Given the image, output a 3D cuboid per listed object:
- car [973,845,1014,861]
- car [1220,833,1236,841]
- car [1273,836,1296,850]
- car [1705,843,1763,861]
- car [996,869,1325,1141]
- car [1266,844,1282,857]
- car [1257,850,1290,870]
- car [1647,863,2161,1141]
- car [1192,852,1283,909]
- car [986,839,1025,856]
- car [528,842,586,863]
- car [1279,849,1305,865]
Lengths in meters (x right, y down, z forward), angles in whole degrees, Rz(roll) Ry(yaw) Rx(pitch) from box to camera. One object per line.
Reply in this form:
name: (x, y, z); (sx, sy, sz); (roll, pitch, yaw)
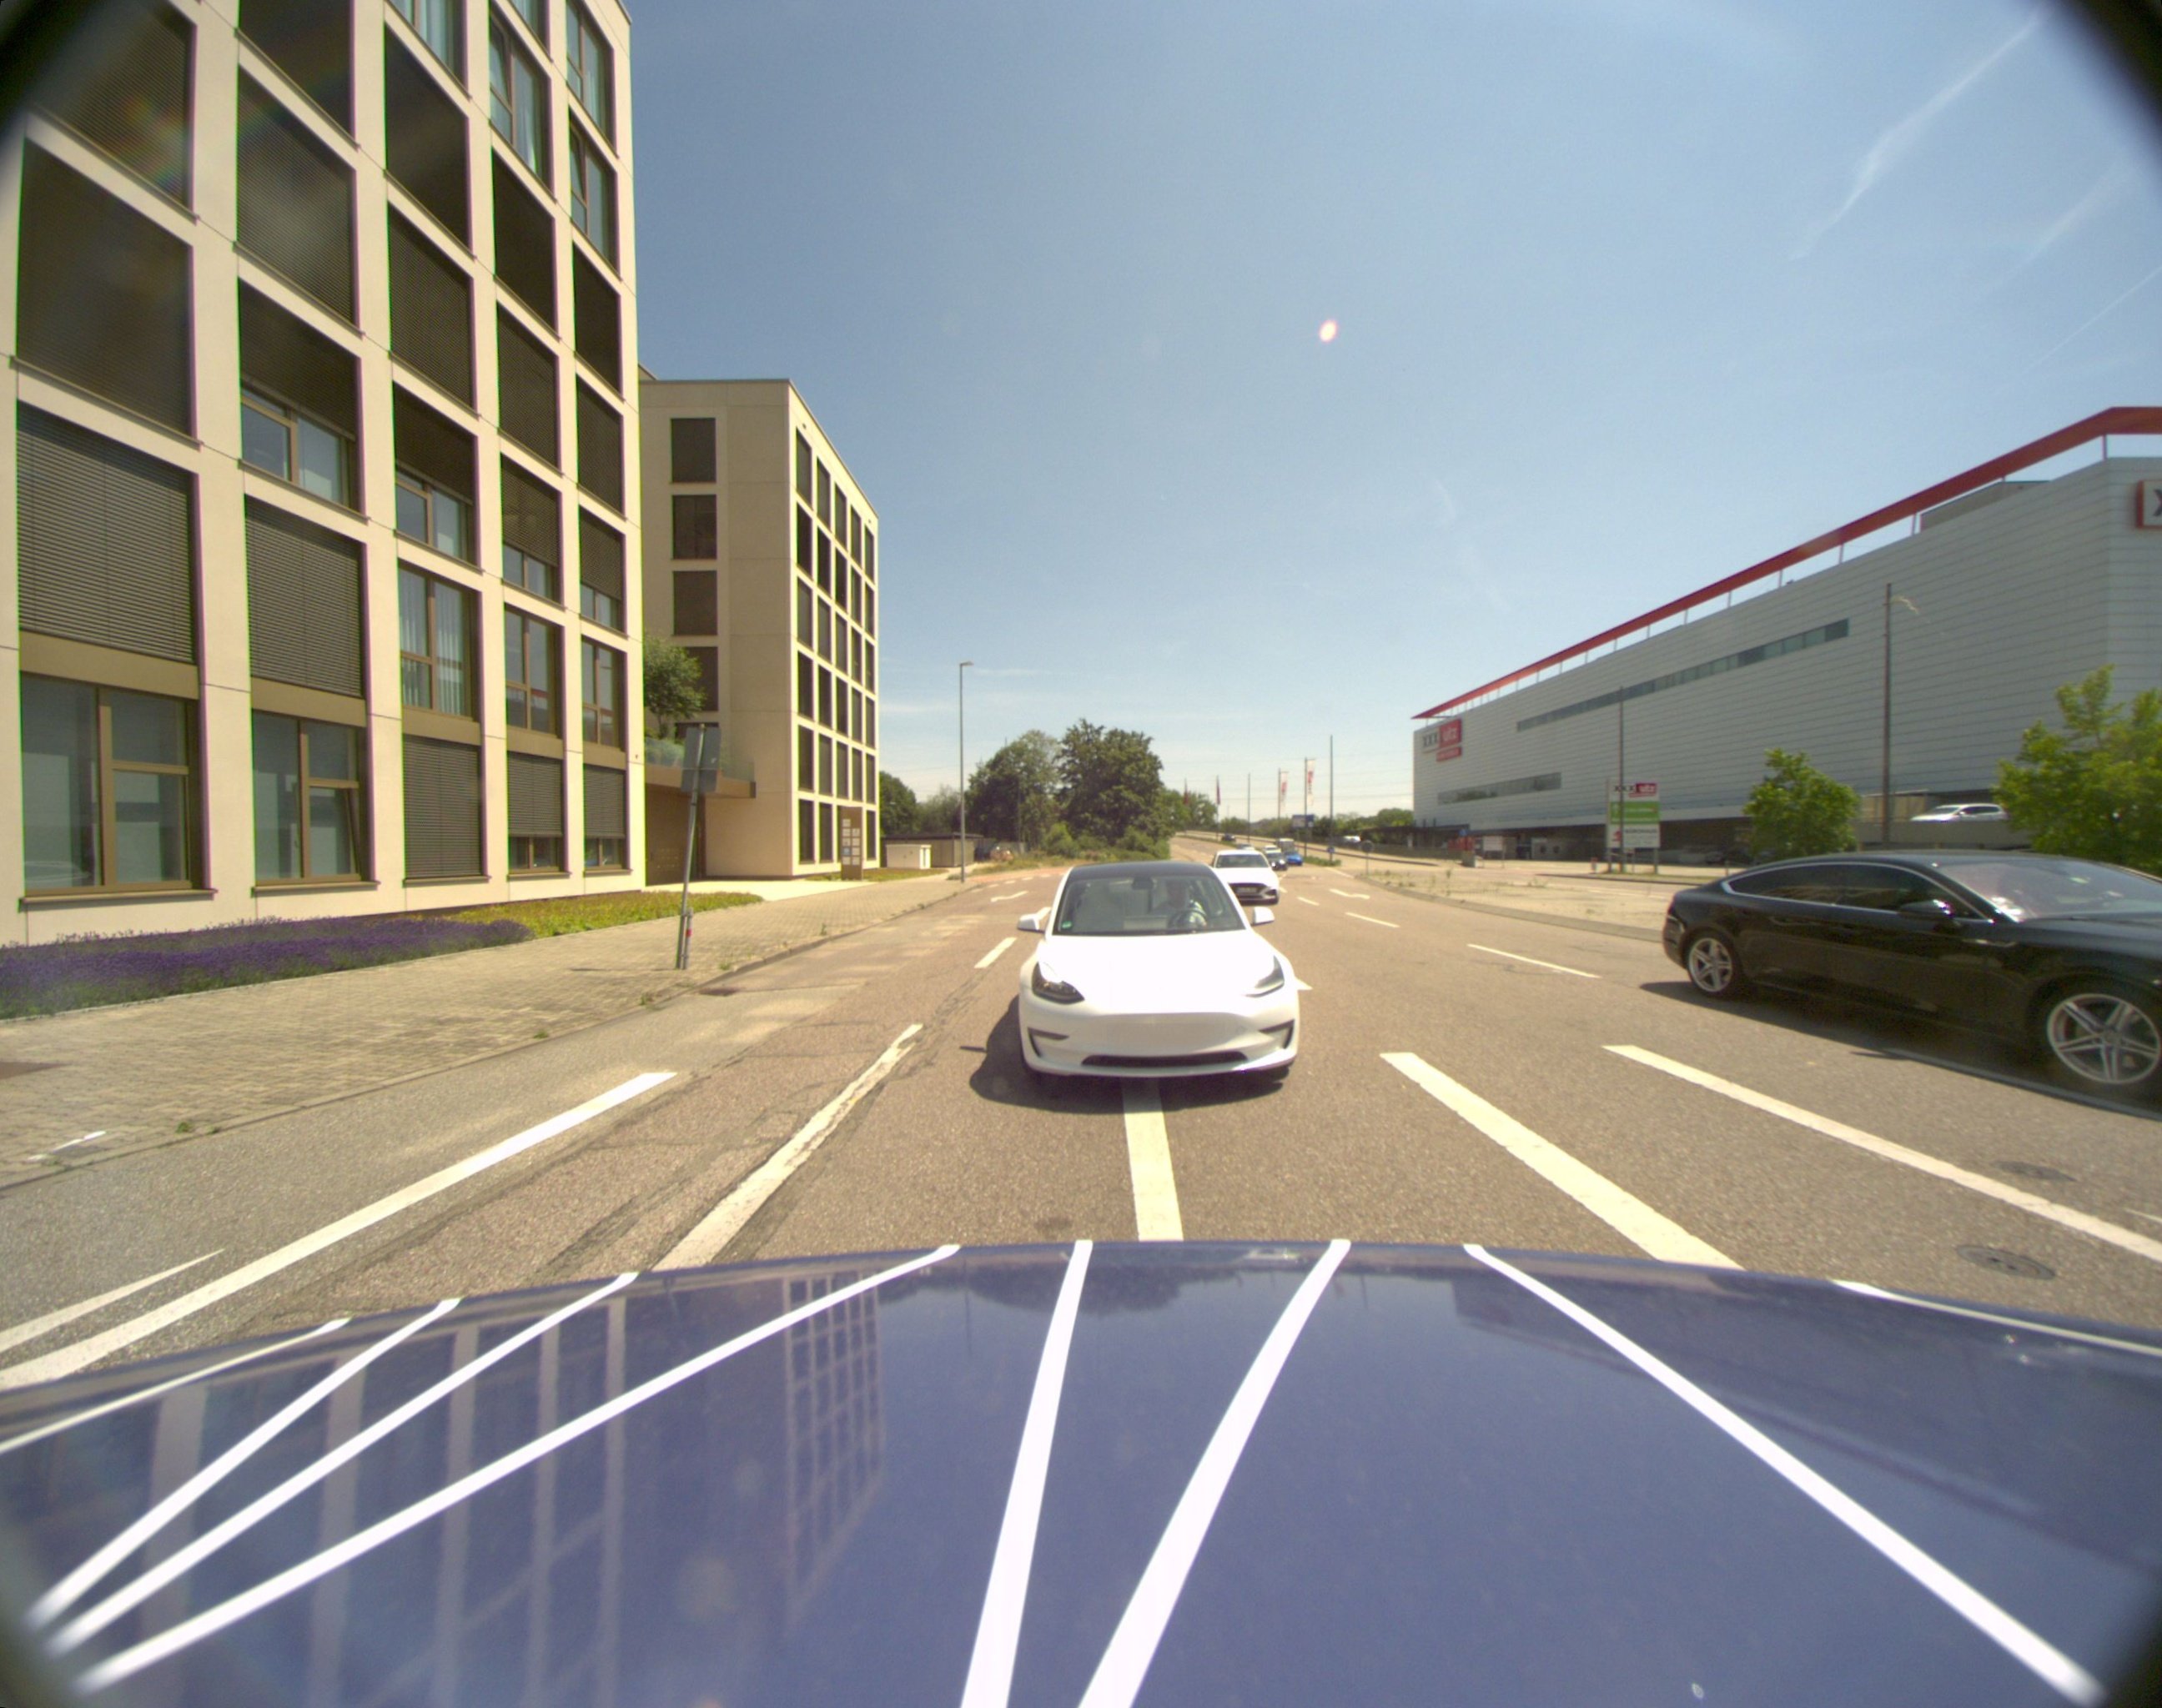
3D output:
car: (-9.432, -0.156, 82.088); (4.005, 1.652, 1.834); (0, 1, -23)
car: (25.863, -2.949, 133.773); (1.861, 1.295, 3.892); (1, 1, -3)
car: (28.478, -1.503, 106.551); (1.836, 1.840, 4.839); (0, 1, -2)
car: (61.143, -0.187, 71.149); (3.746, 1.611, 1.912); (0, 1, 1)
car: (0.416, 0.918, 6.606); (1.880, 1.417, 4.405); (-2, 0, -1)
car: (22.494, -0.423, 88.621); (1.677, 1.566, 4.060); (-1, 1, 13)
car: (14.425, 0.424, 57.180); (1.801, 1.369, 4.408); (-1, 1, 6)
car: (6.587, 0.795, 5.488); (1.752, 1.382, 4.534); (-1, 0, 3)
car: (4.305, 0.665, 21.541); (1.735, 1.441, 4.230); (0, 0, 1)
car: (-8.594, -0.764, 86.094); (4.005, 1.942, 1.996); (0, 1, -24)
car: (-46.737, -0.177, 67.867); (1.997, 1.841, 4.003); (0, 1, 10)
car: (19.052, 0.261, 68.763); (1.800, 1.405, 4.409); (-1, 0, 8)
